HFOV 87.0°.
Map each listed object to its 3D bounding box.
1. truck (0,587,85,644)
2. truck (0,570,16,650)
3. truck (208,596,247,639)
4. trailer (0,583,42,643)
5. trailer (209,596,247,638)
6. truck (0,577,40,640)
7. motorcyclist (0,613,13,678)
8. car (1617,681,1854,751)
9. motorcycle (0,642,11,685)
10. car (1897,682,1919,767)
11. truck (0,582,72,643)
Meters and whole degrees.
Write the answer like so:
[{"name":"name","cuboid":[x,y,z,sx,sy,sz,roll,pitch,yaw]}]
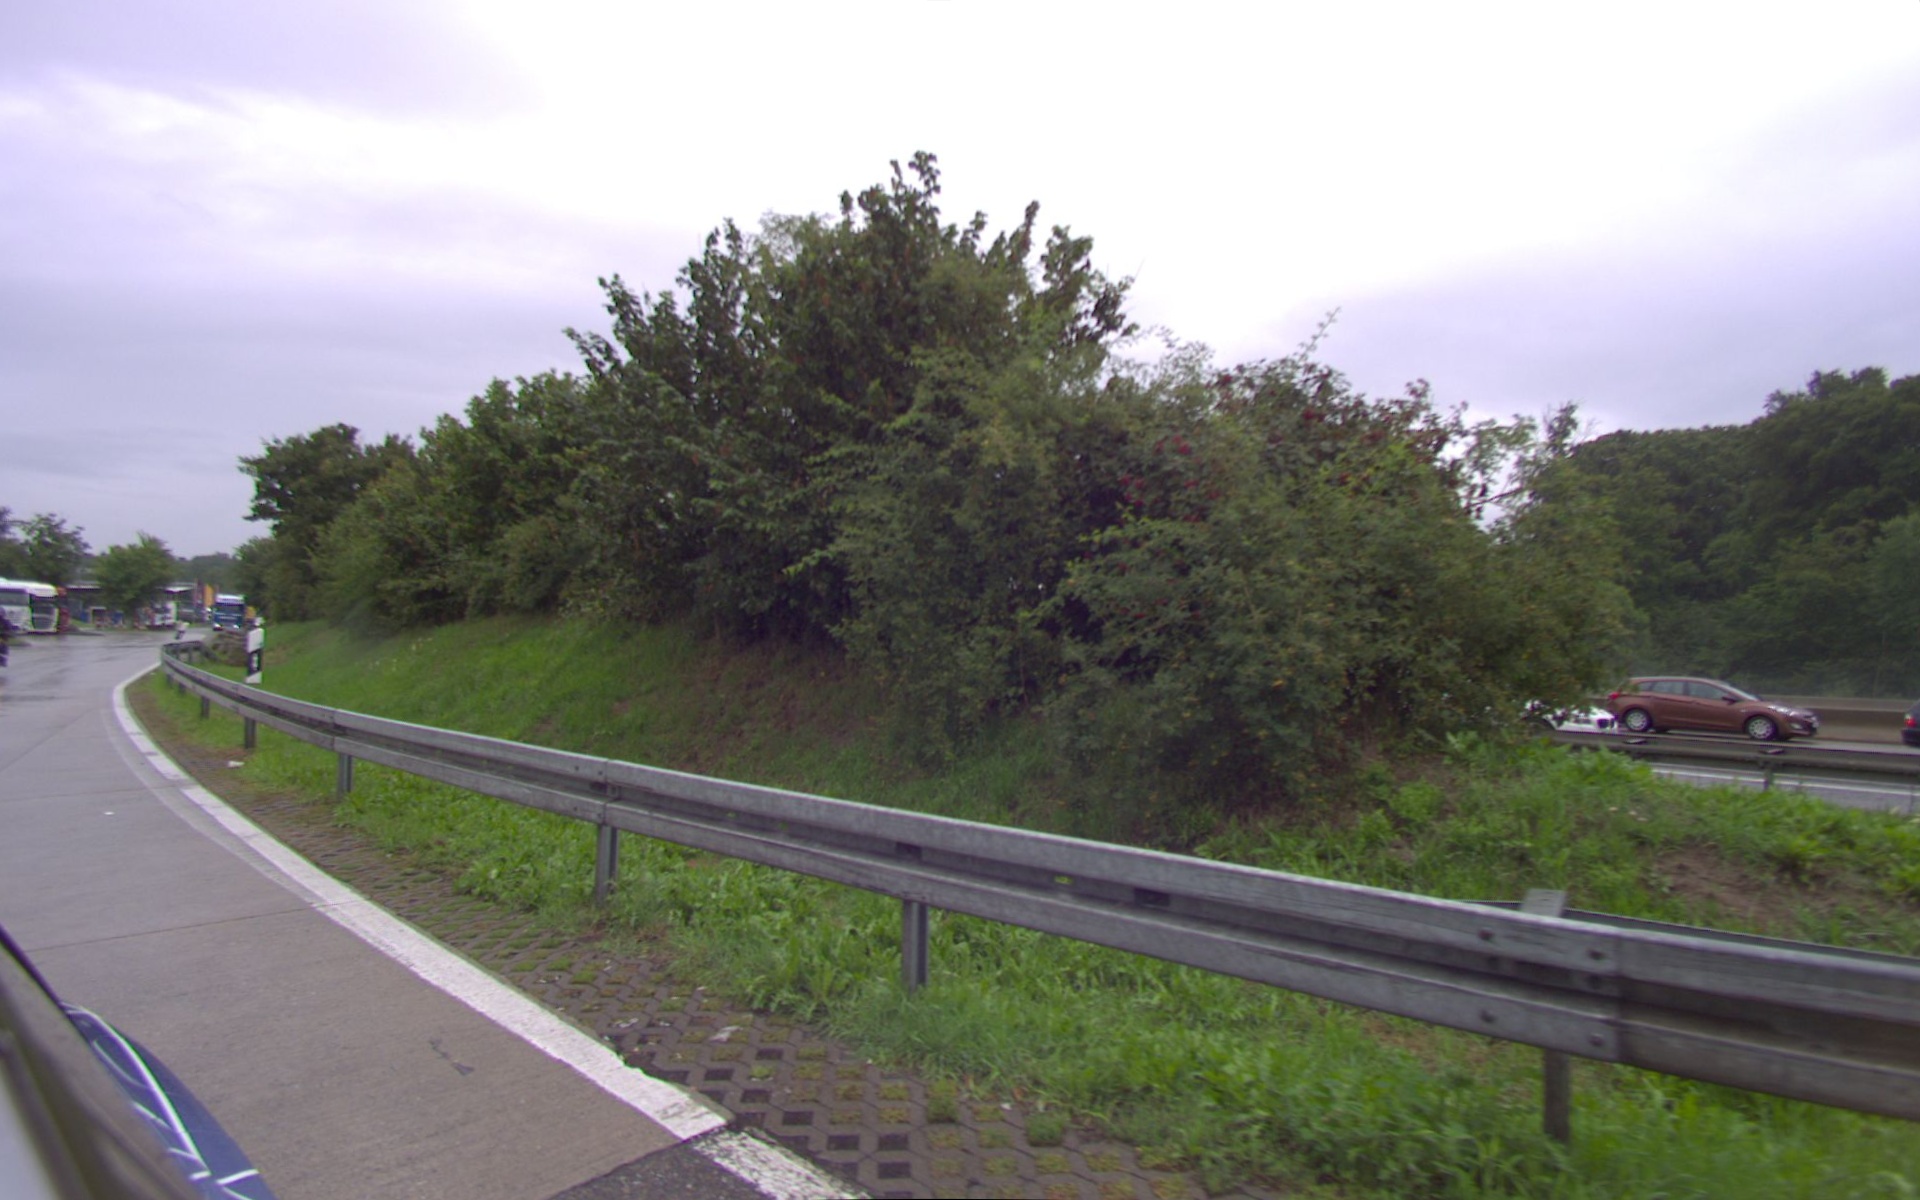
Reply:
[{"name":"truck","cuboid":[-73.365,1.283,80.898,4.573,4.420,2.601,1,-2,7]},{"name":"truck","cuboid":[-50.808,0.379,49.666,6.477,3.949,2.893,1,-3,7]},{"name":"truck","cuboid":[-79.356,1.904,109.755,3.192,4.420,6.329,2,-2,-35]},{"name":"trailer","cuboid":[-77.660,0.924,76.771,14.222,4.420,3.239,1,-2,7]},{"name":"trailer","cuboid":[-83.130,1.948,115.135,3.192,4.420,13.799,2,-2,-35]},{"name":"truck","cuboid":[-66.887,0.492,67.789,7.843,4.122,3.239,1,-3,7]},{"name":"motorcyclist","cuboid":[-24.101,1.124,25.048,0.865,1.580,1.374,4,-5,-44]},{"name":"car","cuboid":[19.211,2.814,25.269,1.683,1.405,4.387,3,-3,-36]},{"name":"motorcycle","cuboid":[-24.144,1.556,25.061,0.865,1.030,2.354,4,-5,-43]},{"name":"car","cuboid":[19.735,2.298,17.740,1.967,1.542,4.549,3,-3,-37]},{"name":"truck","cuboid":[-70.831,0.916,75.938,5.743,4.420,3.239,1,-2,7]}]
